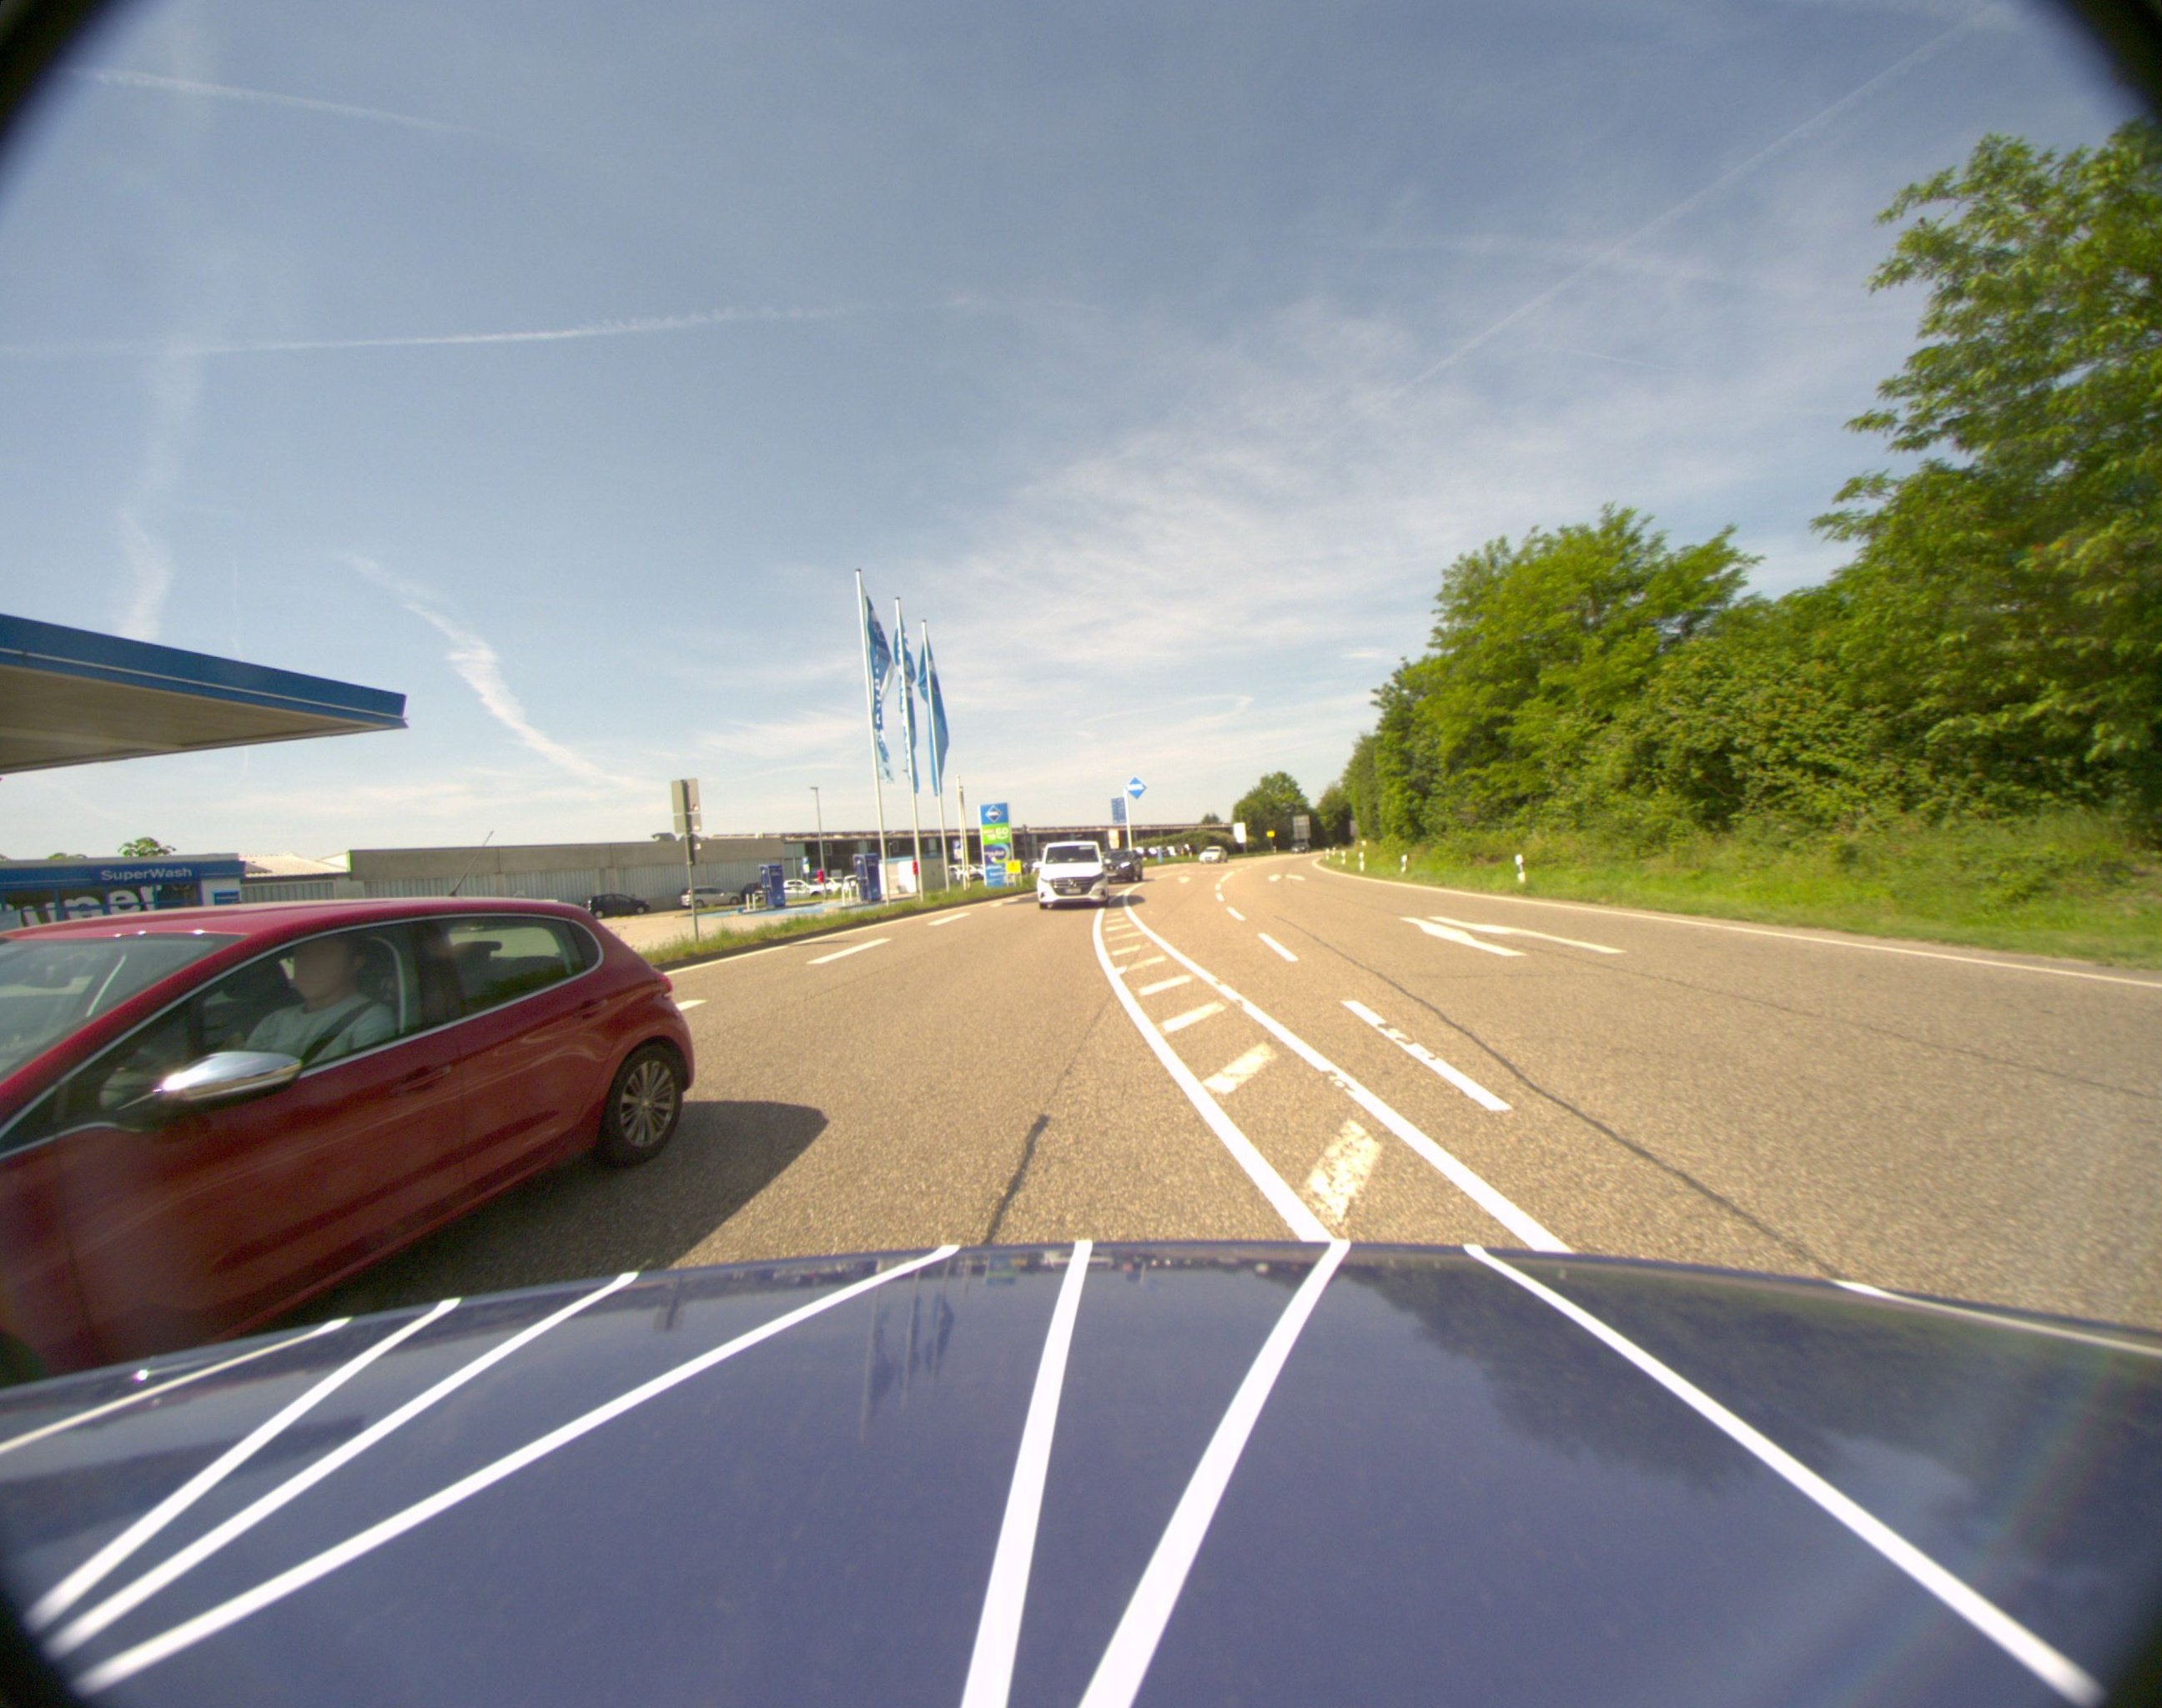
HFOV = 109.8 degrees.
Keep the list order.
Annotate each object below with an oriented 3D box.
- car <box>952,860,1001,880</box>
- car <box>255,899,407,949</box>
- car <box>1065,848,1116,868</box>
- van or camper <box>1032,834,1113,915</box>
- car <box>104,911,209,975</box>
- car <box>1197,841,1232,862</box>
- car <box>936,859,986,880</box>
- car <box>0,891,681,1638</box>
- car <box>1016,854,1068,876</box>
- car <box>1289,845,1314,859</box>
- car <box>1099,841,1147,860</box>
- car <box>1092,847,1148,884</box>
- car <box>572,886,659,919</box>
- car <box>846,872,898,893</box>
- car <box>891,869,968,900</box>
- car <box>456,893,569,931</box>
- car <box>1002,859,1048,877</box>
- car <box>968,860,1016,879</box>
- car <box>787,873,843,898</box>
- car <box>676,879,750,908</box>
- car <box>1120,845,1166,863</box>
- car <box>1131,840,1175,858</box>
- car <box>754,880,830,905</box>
[{"bbox_3d":[-9.804,1.530,71.429,4.454,1.628,1.826,-4,-1,36],"label":"car"},{"bbox_3d":[-35.308,3.263,35.913,1.886,1.815,4.663,-4,0,30],"label":"car"},{"bbox_3d":[0.870,0.393,70.402,4.248,1.628,1.826,-4,-1,30],"label":"car"},{"bbox_3d":[-0.164,0.524,22.714,1.998,2.002,5.290,-4,0,1],"label":"van or camper"},{"bbox_3d":[-31.264,2.954,25.667,4.161,1.815,1.893,-4,1,36],"label":"car"},{"bbox_3d":[11.804,-0.217,66.897,1.865,1.631,4.428,-4,0,25],"label":"car"},{"bbox_3d":[-11.041,1.458,69.681,4.454,1.628,1.826,-4,-1,36],"label":"car"},{"bbox_3d":[-3.333,1.037,2.441,1.804,1.563,3.715,-2,0,6],"label":"car"},{"bbox_3d":[-3.476,0.966,67.429,4.248,1.628,1.826,-4,-1,30],"label":"car"},{"bbox_3d":[30.003,-0.338,103.366,1.864,1.631,4.429,-4,0,36],"label":"car"},{"bbox_3d":[4.077,-0.332,73.961,4.248,1.628,1.826,-4,-1,30],"label":"car"},{"bbox_3d":[1.913,0.530,36.286,1.819,1.532,3.731,-4,0,15],"label":"car"},{"bbox_3d":[-28.580,2.964,46.747,1.885,1.595,4.028,-4,0,35],"label":"car"},{"bbox_3d":[-16.659,2.285,60.530,4.035,1.449,1.826,-4,-1,36],"label":"car"},{"bbox_3d":[-11.244,2.219,56.404,5.245,1.820,1.997,-4,0,-18],"label":"car"},{"bbox_3d":[-31.329,3.162,41.988,1.885,1.595,4.538,-4,0,32],"label":"car"},{"bbox_3d":[-5.768,1.440,77.770,4.454,1.628,1.826,-4,-1,36],"label":"car"},{"bbox_3d":[-8.595,1.499,73.086,4.454,1.628,1.826,-4,-1,36],"label":"car"},{"bbox_3d":[-19.591,2.337,55.928,4.011,1.595,1.894,-4,0,38],"label":"car"},{"bbox_3d":[-24.959,2.682,51.597,1.885,1.595,4.028,-4,0,39],"label":"car"},{"bbox_3d":[6.394,0.012,78.560,4.248,1.628,1.826,-4,-1,30],"label":"car"},{"bbox_3d":[7.674,-0.514,81.034,4.248,1.628,1.826,-4,-1,30],"label":"car"},{"bbox_3d":[-18.360,2.440,48.388,4.132,1.245,1.695,-4,0,-41],"label":"car"}]
